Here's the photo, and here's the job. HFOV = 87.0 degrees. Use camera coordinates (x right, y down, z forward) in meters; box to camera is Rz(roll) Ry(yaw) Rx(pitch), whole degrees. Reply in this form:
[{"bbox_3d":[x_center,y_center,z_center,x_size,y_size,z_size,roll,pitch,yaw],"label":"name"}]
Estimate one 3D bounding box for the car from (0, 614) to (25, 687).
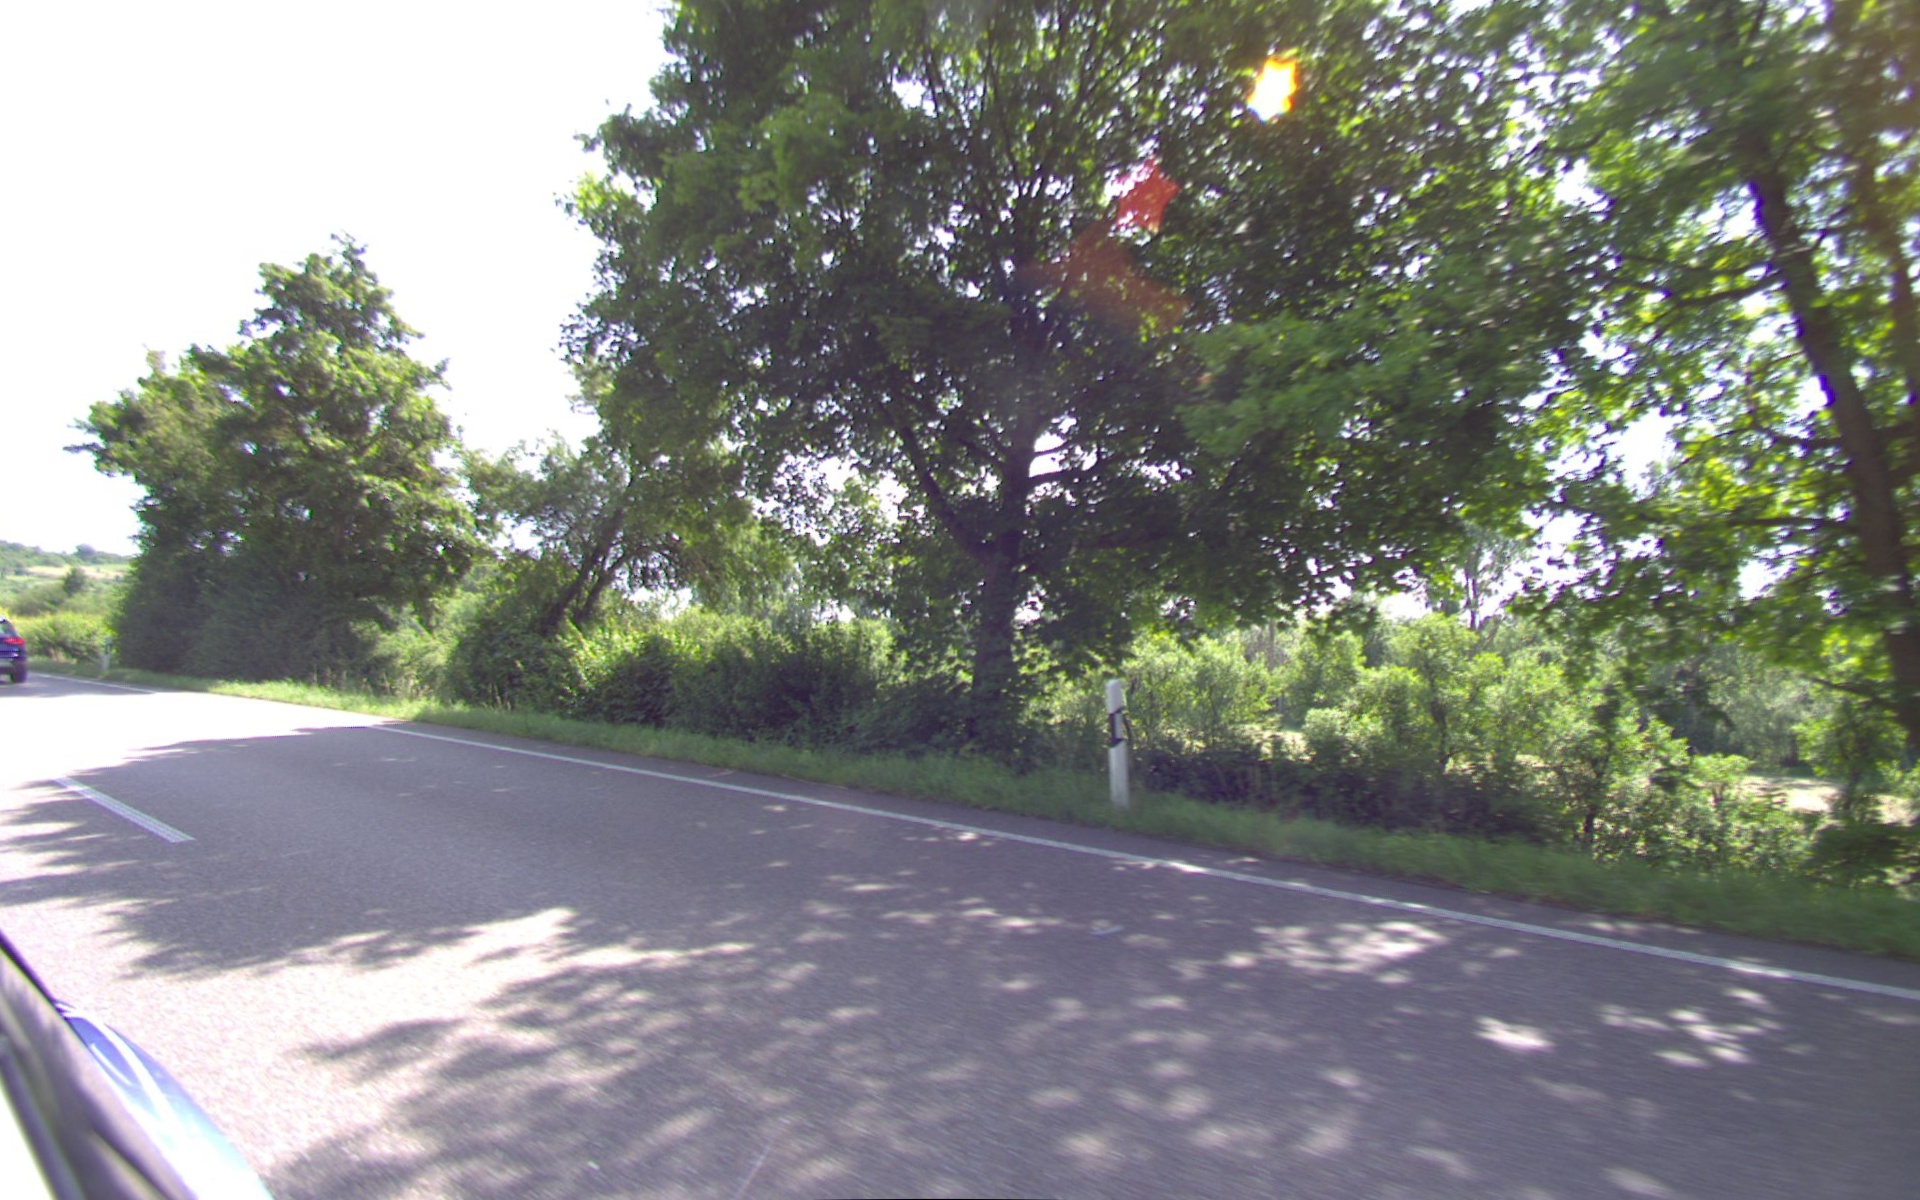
[{"bbox_3d":[-22.136,1.072,22.274,3.952,1.543,1.654,-1,-2,38],"label":"car"}]
